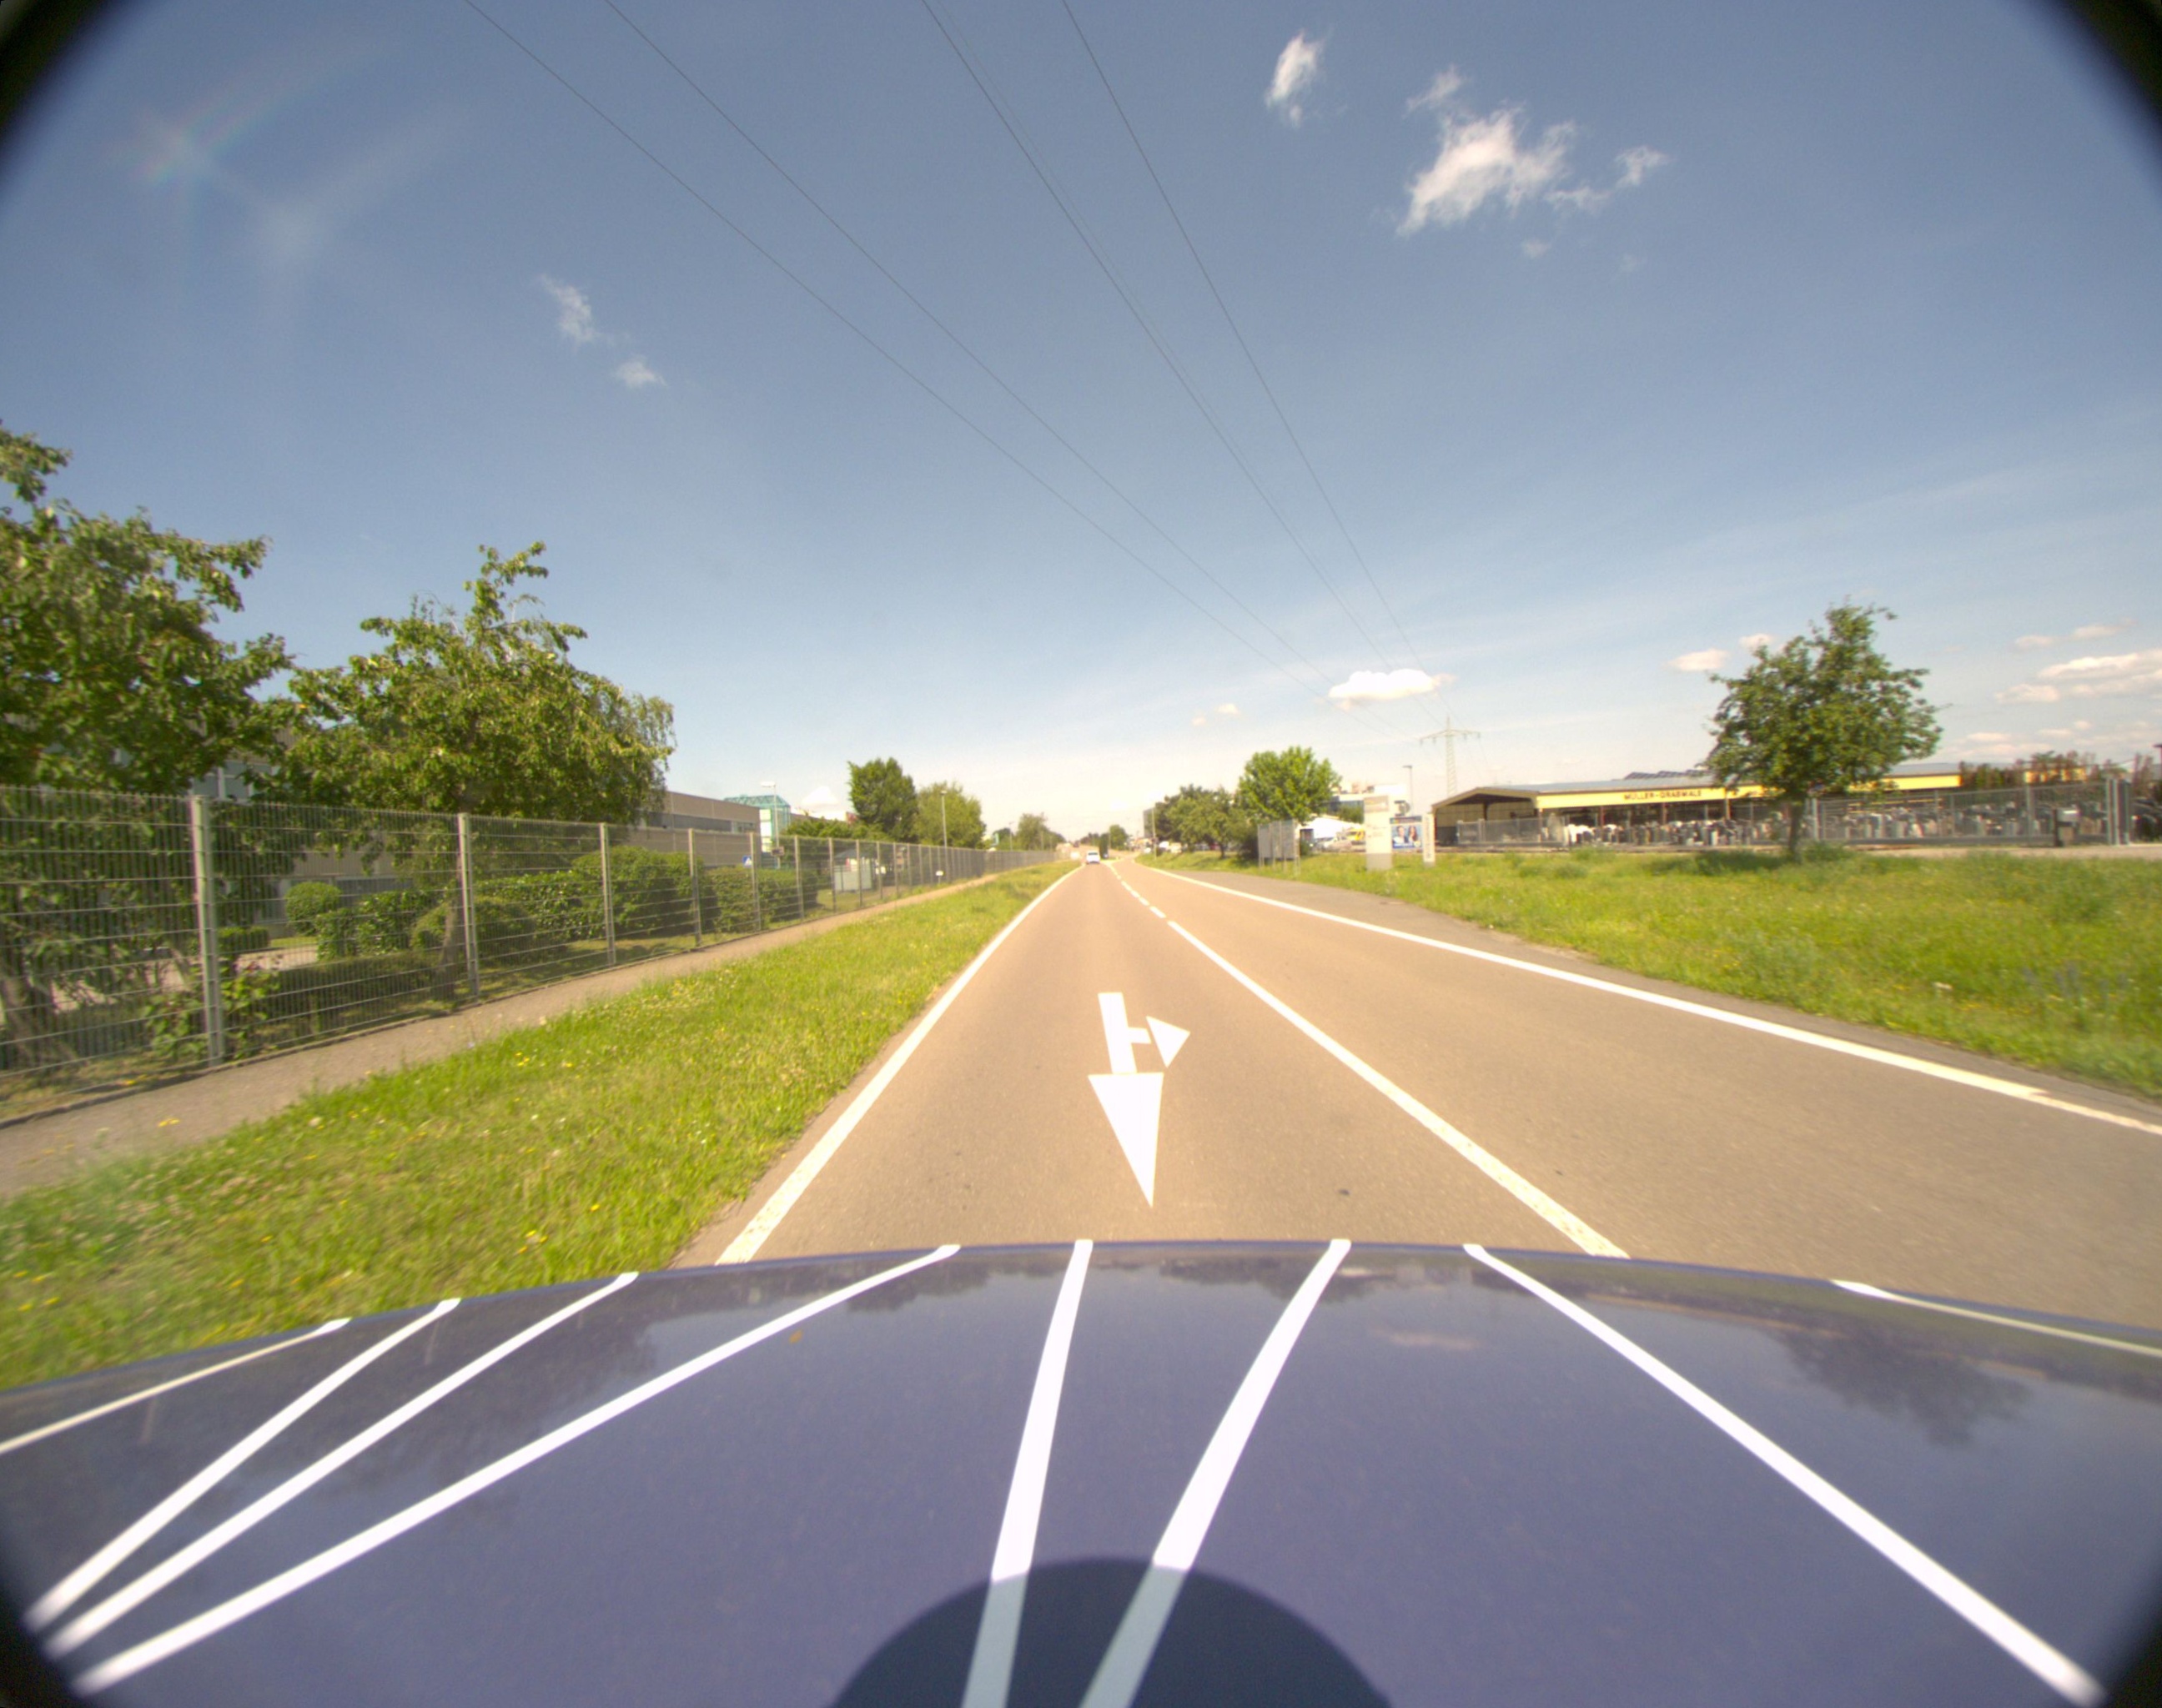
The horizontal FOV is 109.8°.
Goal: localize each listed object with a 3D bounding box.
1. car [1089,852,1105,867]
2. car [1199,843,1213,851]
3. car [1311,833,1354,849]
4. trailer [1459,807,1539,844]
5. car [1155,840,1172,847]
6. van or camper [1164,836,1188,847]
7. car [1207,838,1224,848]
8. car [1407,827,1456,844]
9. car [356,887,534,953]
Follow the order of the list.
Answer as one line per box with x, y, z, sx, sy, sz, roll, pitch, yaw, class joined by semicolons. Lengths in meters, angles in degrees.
2.244;0.792;105.801;1.998;1.904;4.000;-3;1;4;car
25.158;-1.441;152.902;1.999;1.400;4.516;-4;0;0;car
25.788;-1.325;77.917;4.006;1.302;1.938;-4;1;-32;car
37.231;-2.511;67.787;5.578;2.809;2.739;-4;1;-6;trailer
19.842;-2.443;182.615;3.996;1.510;2.000;-3;1;3;car
24.202;-3.200;193.445;5.575;2.483;2.081;-3;2;24;van or camper
24.577;-1.984;139.155;1.999;1.734;4.227;-3;1;-5;car
36.840;-1.974;80.022;2.003;1.477;4.238;-4;1;-30;car
-22.861;2.281;27.718;2.116;1.769;5.651;-4;1;-7;car
